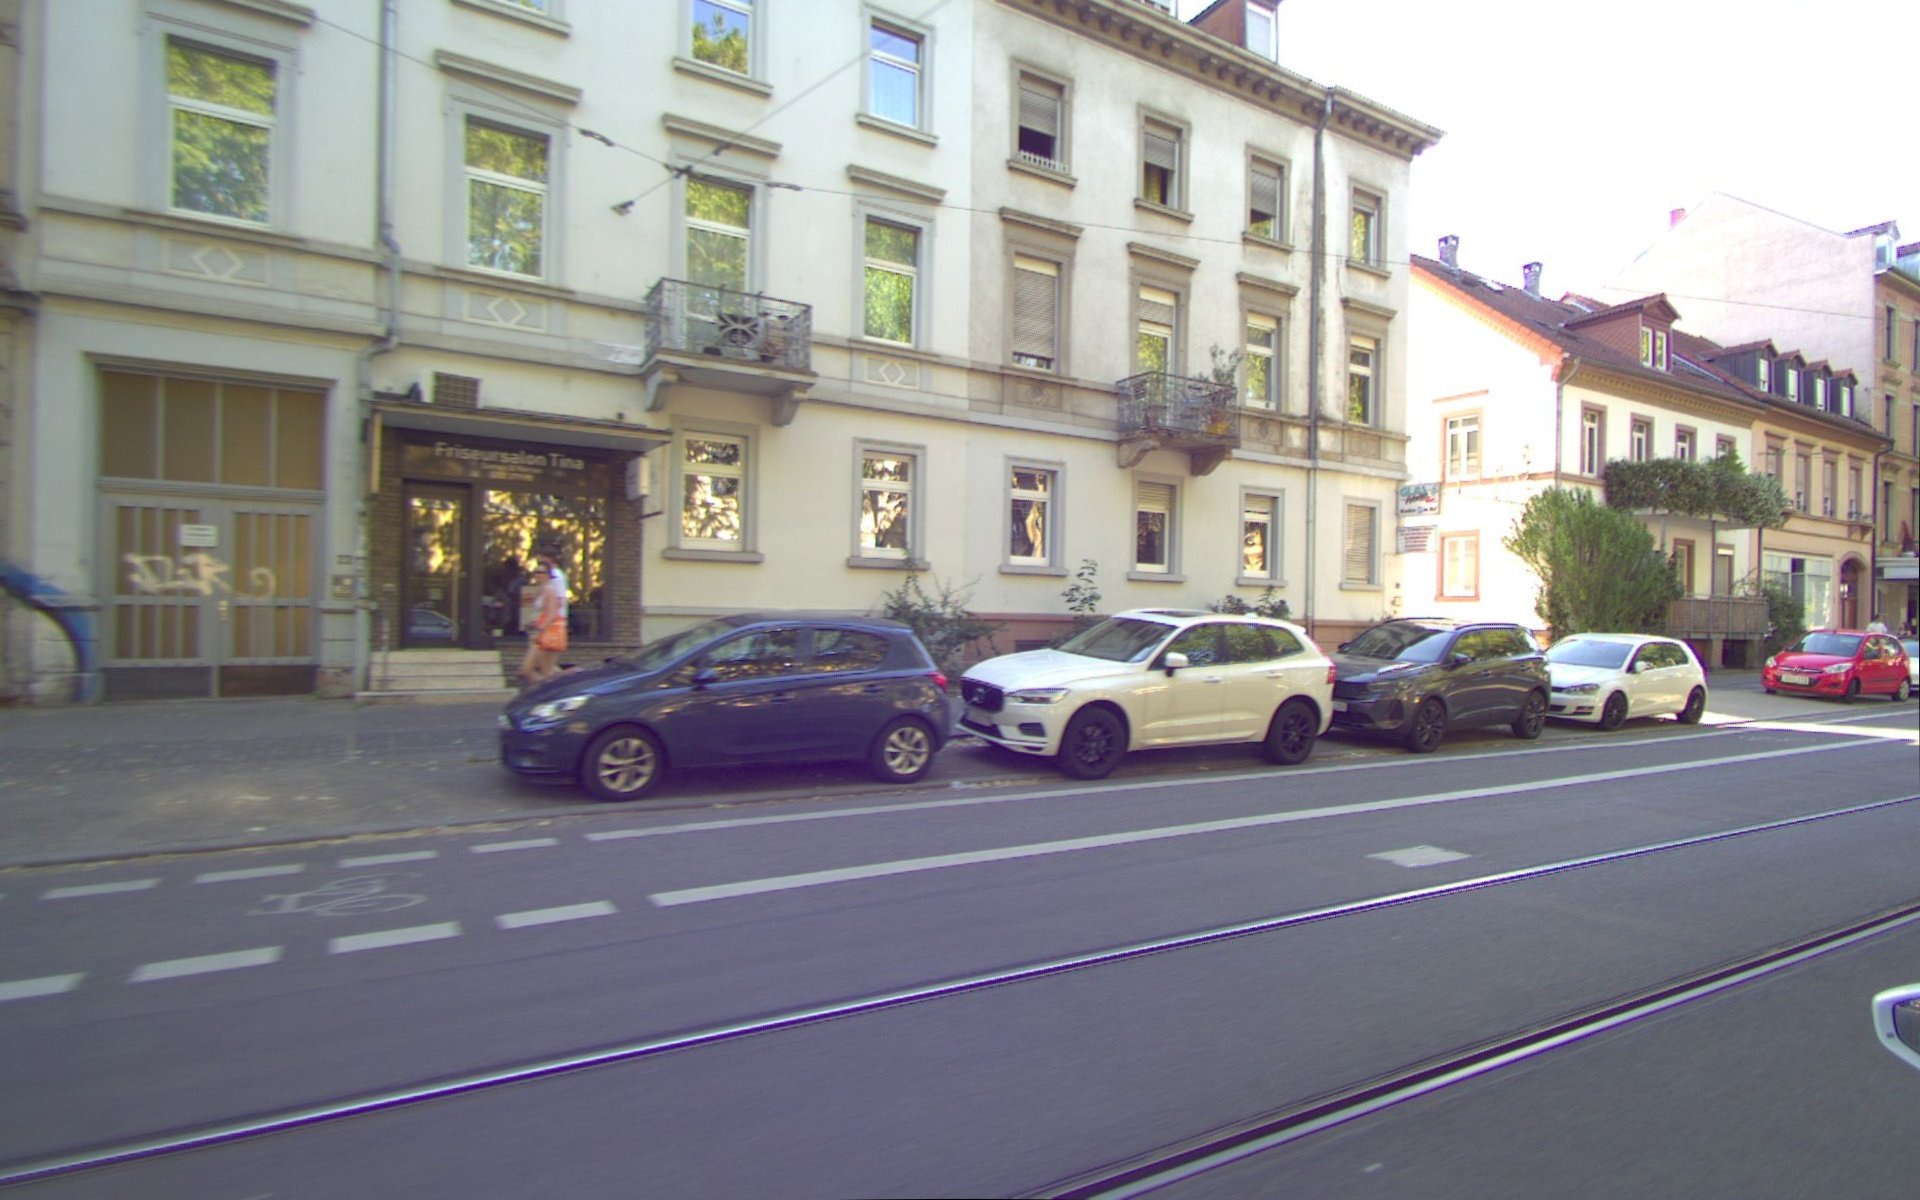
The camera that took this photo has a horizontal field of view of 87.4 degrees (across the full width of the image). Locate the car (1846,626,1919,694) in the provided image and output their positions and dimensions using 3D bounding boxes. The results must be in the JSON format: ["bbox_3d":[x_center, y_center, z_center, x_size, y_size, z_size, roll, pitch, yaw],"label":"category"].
[{"bbox_3d":[24.193,1.472,25.157,4.638,1.523,1.816,1,1,-33],"label":"car"}]

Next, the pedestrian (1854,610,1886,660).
[{"bbox_3d":[31.194,1.187,34.427,0.764,1.656,0.653,2,1,44],"label":"pedestrian"}]

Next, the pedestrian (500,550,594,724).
[{"bbox_3d":[-4.592,0.400,11.164,0.821,1.845,0.755,1,0,-33],"label":"pedestrian"}]

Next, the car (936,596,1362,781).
[{"bbox_3d":[2.229,0.881,11.405,4.706,1.726,1.848,1,-1,-30],"label":"car"}]

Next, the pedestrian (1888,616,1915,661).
[{"bbox_3d":[31.759,1.297,33.891,0.628,1.480,0.653,2,1,44],"label":"pedestrian"}]

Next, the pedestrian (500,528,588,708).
[{"bbox_3d":[-4.935,0.214,11.898,0.821,2.040,0.755,1,0,-32],"label":"pedestrian"}]

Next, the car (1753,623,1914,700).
[{"bbox_3d":[19.545,1.330,22.477,3.404,1.583,1.564,1,-1,-27],"label":"car"}]

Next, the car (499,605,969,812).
[{"bbox_3d":[-1.983,0.849,9.076,3.875,1.535,1.547,1,-1,-29],"label":"car"}]

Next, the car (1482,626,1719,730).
[{"bbox_3d":[10.933,1.245,17.079,4.208,1.496,1.678,1,1,-31],"label":"car"}]

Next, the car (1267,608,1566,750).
[{"bbox_3d":[6.589,1.007,14.296,4.614,1.726,1.844,1,-1,-36],"label":"car"}]
